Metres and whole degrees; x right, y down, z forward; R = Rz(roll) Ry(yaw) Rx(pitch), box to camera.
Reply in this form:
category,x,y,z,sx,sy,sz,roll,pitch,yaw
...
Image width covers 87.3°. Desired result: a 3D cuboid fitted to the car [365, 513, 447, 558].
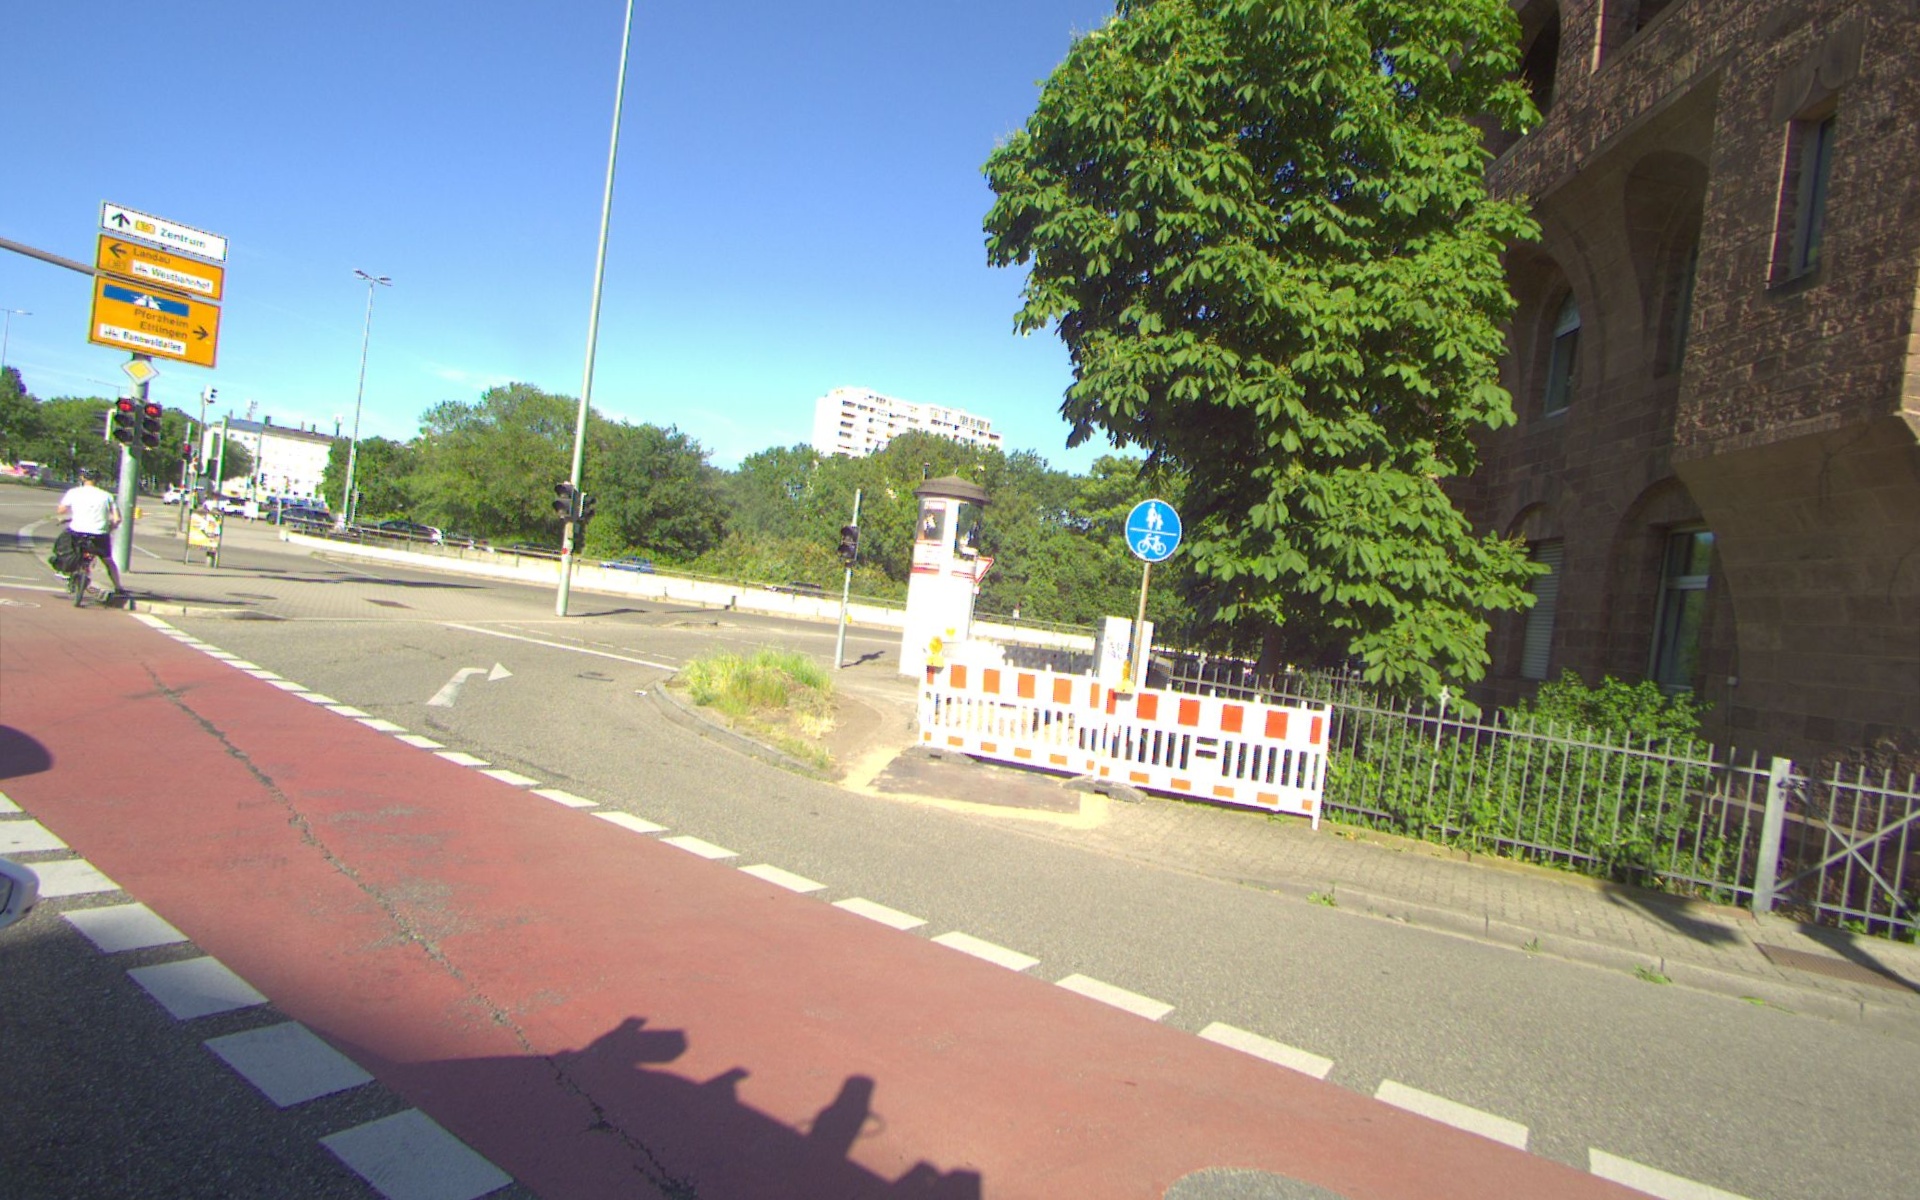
category,x,y,z,sx,sy,sz,roll,pitch,yaw
car,-33.562,-3.885,61.081,3.943,2.037,1.992,7,-2,-20

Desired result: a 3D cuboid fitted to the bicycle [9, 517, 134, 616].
category,x,y,z,sx,sy,sz,roll,pitch,yaw
bicycle,-11.867,-0.478,13.516,0.794,1.124,2.381,8,0,-33

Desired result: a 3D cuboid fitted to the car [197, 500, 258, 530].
category,x,y,z,sx,sy,sz,roll,pitch,yaw
car,-53.885,-6.254,73.958,3.931,1.770,1.998,5,-2,28

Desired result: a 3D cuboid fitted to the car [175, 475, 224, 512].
category,x,y,z,sx,sy,sz,roll,pitch,yaw
car,-72.512,-10.118,96.020,2.229,2.638,4.867,6,-2,-20

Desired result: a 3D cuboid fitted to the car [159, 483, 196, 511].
category,x,y,z,sx,sy,sz,roll,pitch,yaw
car,-63.030,-8.276,81.063,1.982,1.770,3.964,7,-2,-35

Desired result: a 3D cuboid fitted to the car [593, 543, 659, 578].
category,x,y,z,sx,sy,sz,roll,pitch,yaw
car,-23.663,-2.776,71.353,4.197,1.876,2.013,7,-2,-18

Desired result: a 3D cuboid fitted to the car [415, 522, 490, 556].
category,x,y,z,sx,sy,sz,roll,pitch,yaw
car,-34.582,-4.127,68.565,3.926,1.682,2.000,8,1,1

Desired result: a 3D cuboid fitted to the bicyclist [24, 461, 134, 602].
category,x,y,z,sx,sy,sz,roll,pitch,yaw
bicyclist,-11.837,-0.911,13.558,0.794,1.725,1.075,8,0,-33

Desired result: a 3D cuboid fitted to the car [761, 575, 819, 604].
category,x,y,z,sx,sy,sz,roll,pitch,yaw
car,-12.821,-0.793,75.825,3.946,1.638,1.719,8,1,-22

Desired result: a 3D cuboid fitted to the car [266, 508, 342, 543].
category,x,y,z,sx,sy,sz,roll,pitch,yaw
car,-45.788,-5.214,70.207,4.799,1.876,2.019,5,-2,25
